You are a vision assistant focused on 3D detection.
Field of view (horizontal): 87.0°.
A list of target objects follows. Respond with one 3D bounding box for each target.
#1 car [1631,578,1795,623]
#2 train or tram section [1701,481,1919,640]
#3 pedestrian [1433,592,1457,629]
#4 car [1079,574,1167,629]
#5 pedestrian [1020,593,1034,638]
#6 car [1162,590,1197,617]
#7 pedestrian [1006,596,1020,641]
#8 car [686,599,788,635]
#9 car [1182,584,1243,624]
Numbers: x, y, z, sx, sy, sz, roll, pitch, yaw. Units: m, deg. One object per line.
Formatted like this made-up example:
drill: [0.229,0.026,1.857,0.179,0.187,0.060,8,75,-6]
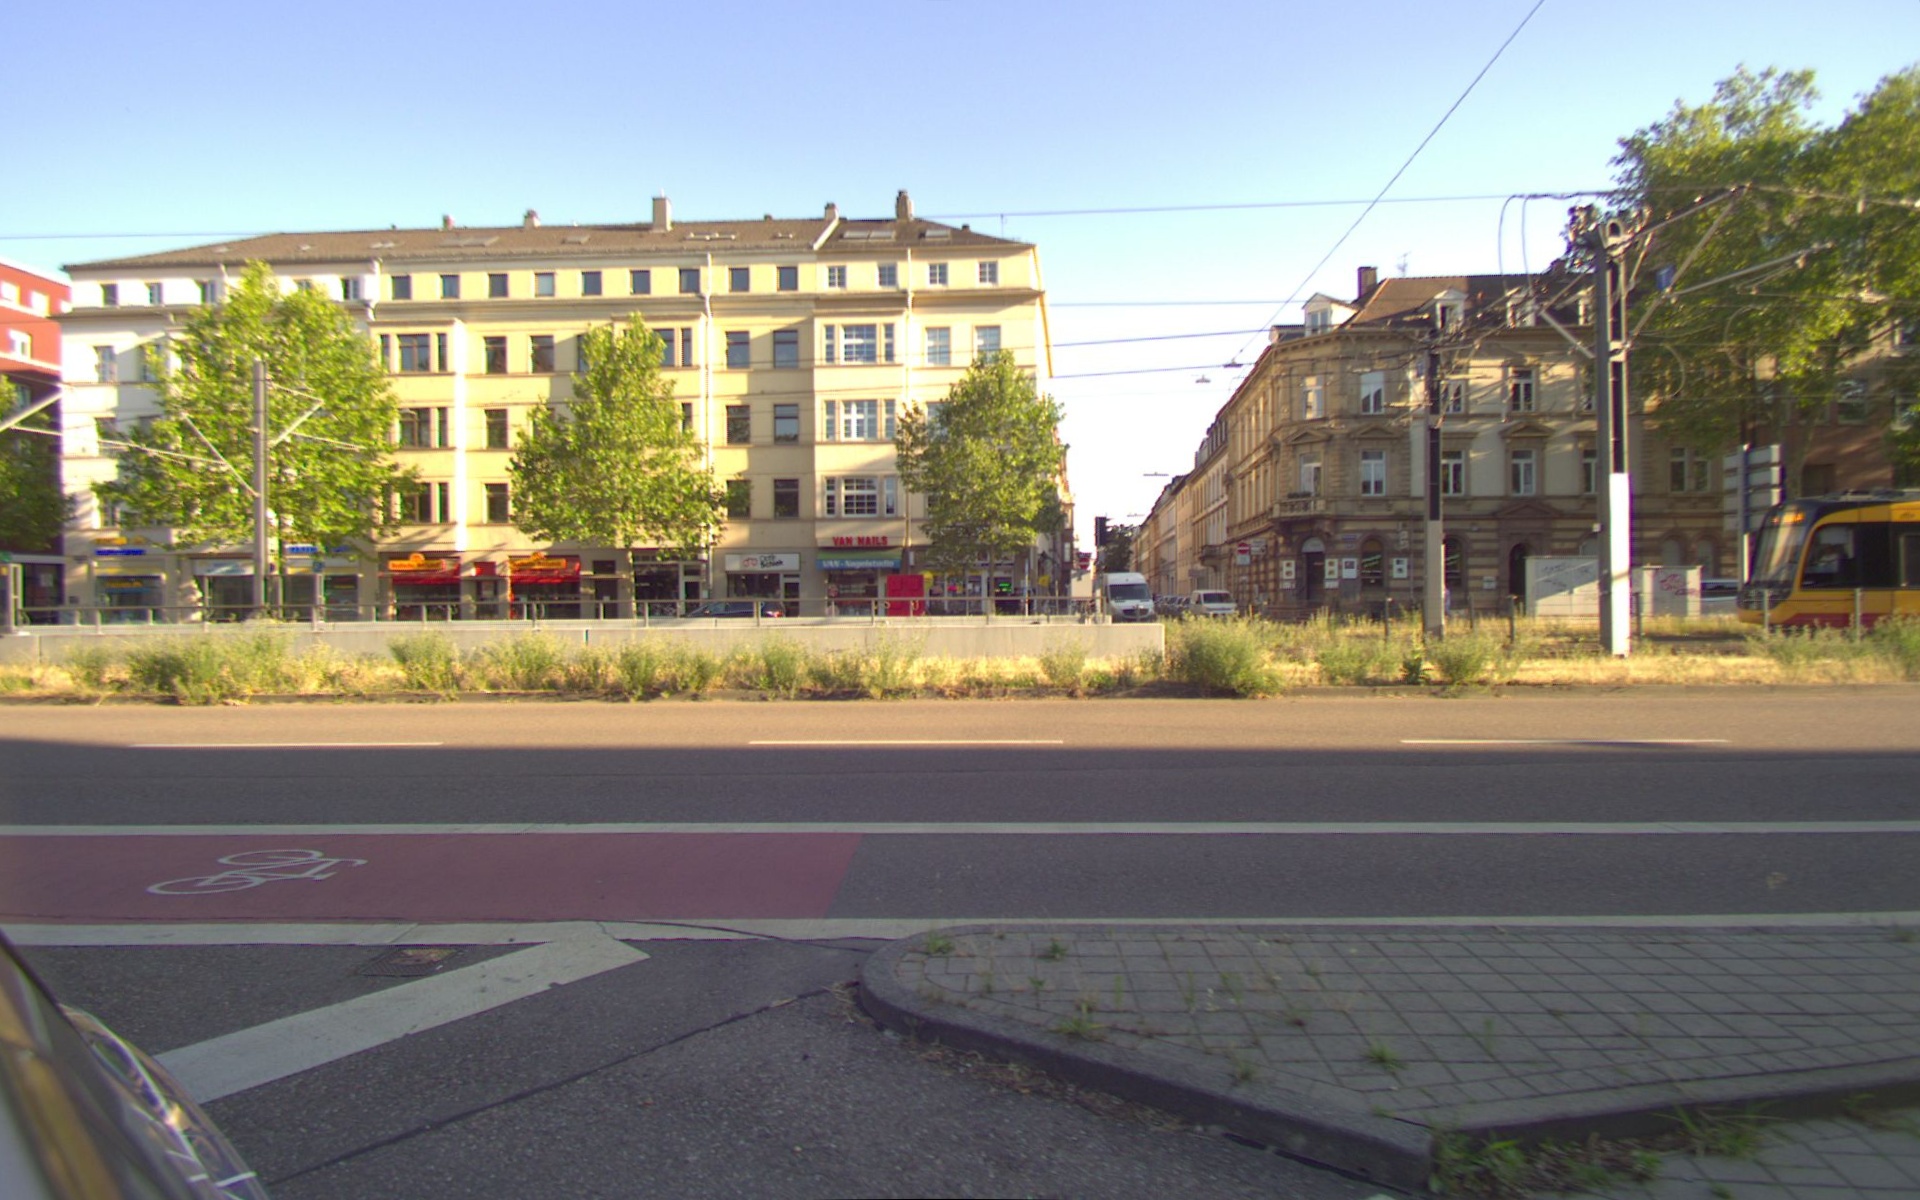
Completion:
car: [28.023,0.020,37.792,4.672,1.597,1.764,0,0,3]
train or tram section: [27.596,-0.949,23.277,17.287,3.586,3.112,-1,0,11]
pedestrian: [21.205,0.454,44.269,0.681,1.574,0.706,0,0,0]
car: [7.128,0.081,45.337,2.434,2.283,7.295,0,0,-2]
pedestrian: [2.882,0.666,43.598,0.578,1.933,0.632,0,2,5]
car: [15.009,0.238,69.444,1.762,1.829,3.995,-1,0,4]
pedestrian: [2.292,0.786,43.670,0.579,1.933,0.631,0,2,6]
car: [-8.734,0.660,39.761,3.662,1.342,1.457,0,2,4]
car: [12.624,0.197,50.849,1.959,1.901,4.696,-1,0,1]
